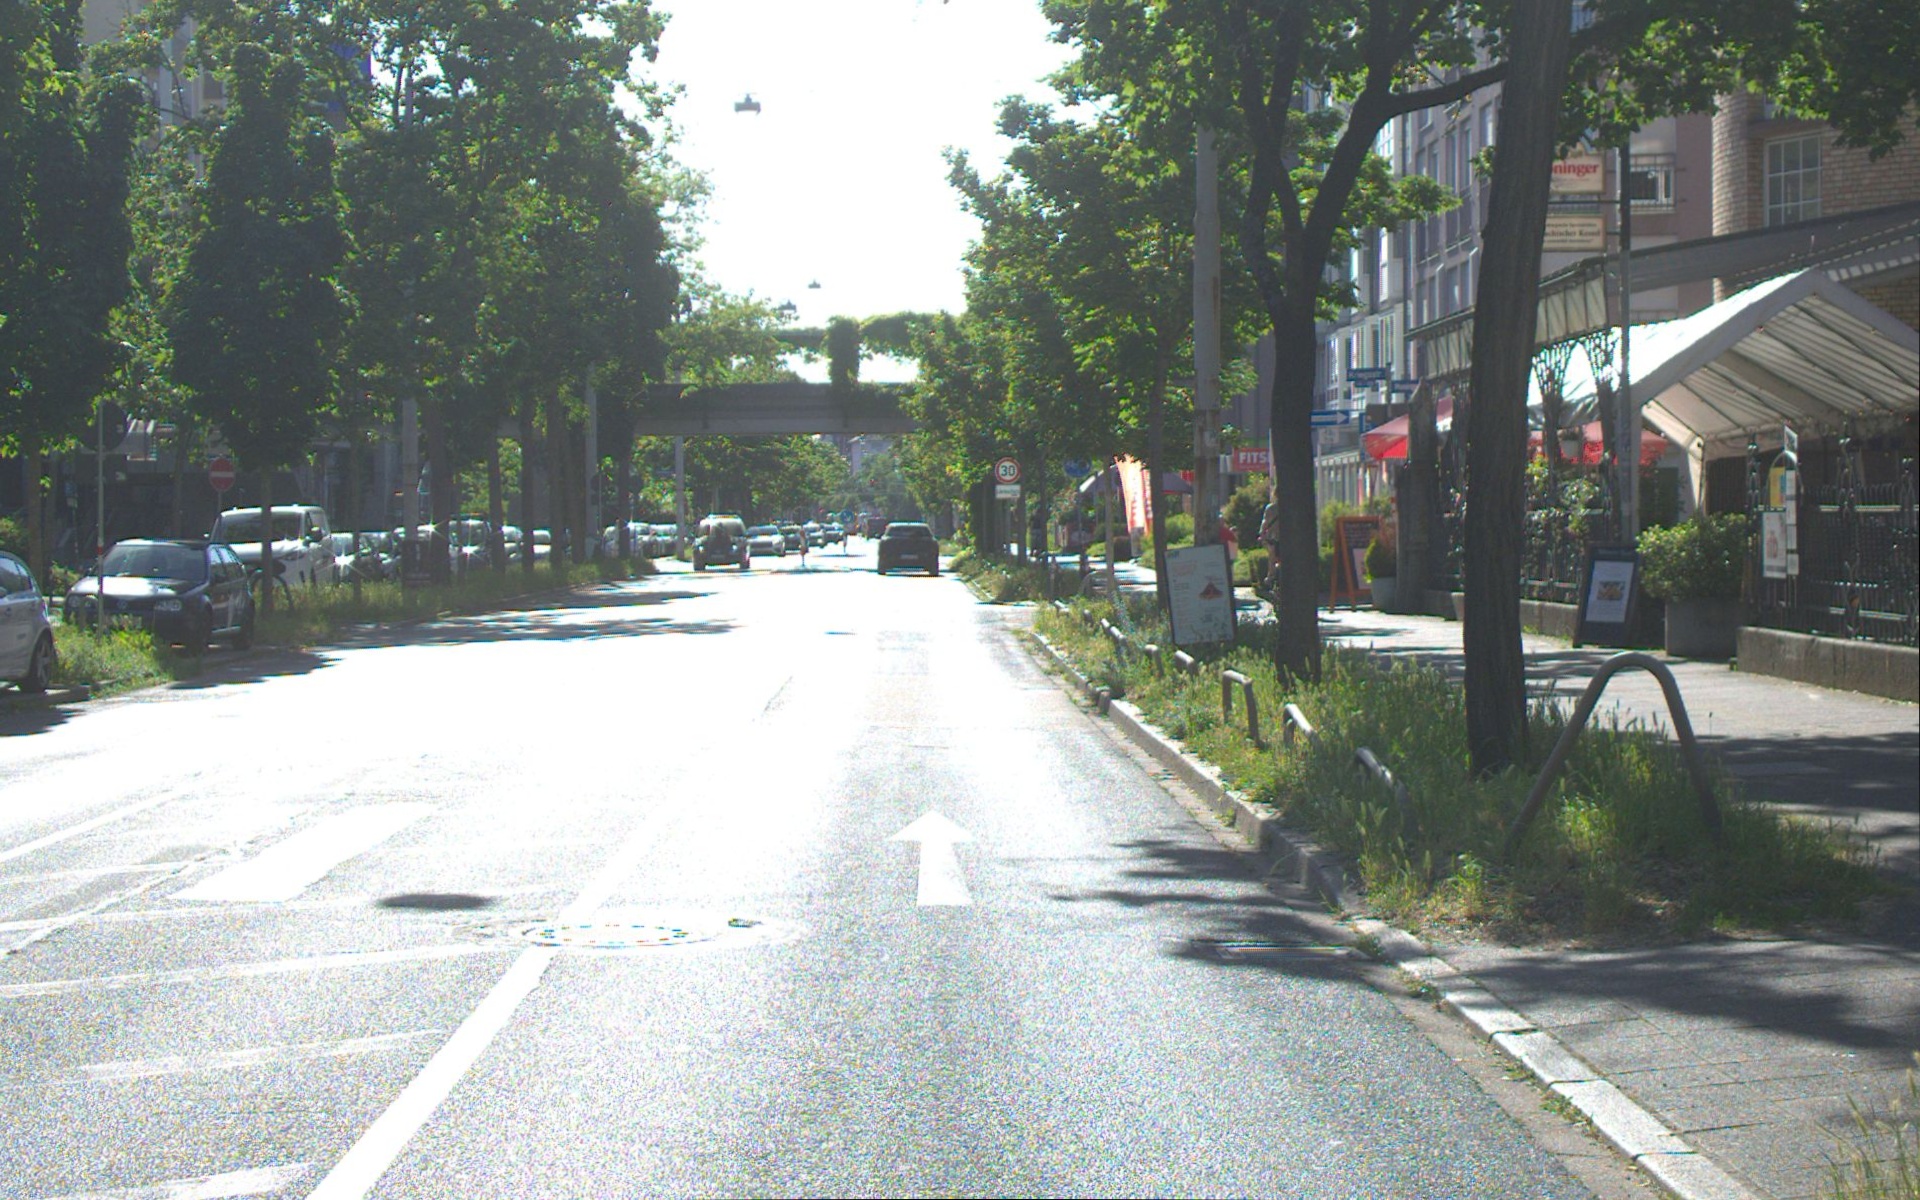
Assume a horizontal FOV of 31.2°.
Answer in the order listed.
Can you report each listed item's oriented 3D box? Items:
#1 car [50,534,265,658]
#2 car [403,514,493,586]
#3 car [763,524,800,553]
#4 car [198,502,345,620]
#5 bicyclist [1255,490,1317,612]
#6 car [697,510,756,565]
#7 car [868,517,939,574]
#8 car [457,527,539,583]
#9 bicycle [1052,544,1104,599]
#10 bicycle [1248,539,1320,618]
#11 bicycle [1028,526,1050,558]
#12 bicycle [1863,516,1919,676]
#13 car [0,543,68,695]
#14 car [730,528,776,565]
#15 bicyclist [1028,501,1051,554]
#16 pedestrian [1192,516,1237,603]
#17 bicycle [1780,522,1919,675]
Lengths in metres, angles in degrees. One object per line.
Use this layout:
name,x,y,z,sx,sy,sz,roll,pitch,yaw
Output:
car,-10.066,-0.088,43.389,1.712,1.453,4.072,1,1,0
car,-13.660,-1.346,91.974,1.855,1.843,4.562,1,1,-2
car,-9.528,-3.285,183.451,1.855,1.435,4.319,-2,1,-2
car,-12.918,-0.750,64.800,1.981,2.069,5.197,-2,1,-4
bicyclist,4.325,-0.649,45.708,0.700,1.594,0.955,0,0,-2
car,-8.046,-2.173,118.698,1.855,1.819,4.610,-2,1,-2
car,-1.680,-1.612,100.872,1.984,1.595,4.141,1,1,-2
car,-13.384,-1.314,99.736,1.855,1.563,3.872,1,1,-1
bicycle,2.368,-0.578,68.710,0.591,1.062,2.021,0,1,15
bicycle,4.317,-0.285,45.892,0.685,1.024,2.096,0,0,-2
bicycle,2.550,-1.879,111.119,0.589,1.024,1.860,0,0,-2
bicycle,7.917,-0.030,25.613,2.195,1.174,0.687,0,0,-7
car,-9.757,0.153,31.962,1.688,1.378,4.191,3,1,2
car,-9.186,-2.392,152.900,1.855,1.563,4.716,-2,1,-2
bicyclist,2.573,-2.327,111.087,0.667,1.689,0.889,1,0,-2
pedestrian,4.778,-0.755,64.476,0.653,1.598,0.603,-3,0,-6
bicycle,7.580,-0.012,26.824,2.195,1.174,0.687,0,0,-7
